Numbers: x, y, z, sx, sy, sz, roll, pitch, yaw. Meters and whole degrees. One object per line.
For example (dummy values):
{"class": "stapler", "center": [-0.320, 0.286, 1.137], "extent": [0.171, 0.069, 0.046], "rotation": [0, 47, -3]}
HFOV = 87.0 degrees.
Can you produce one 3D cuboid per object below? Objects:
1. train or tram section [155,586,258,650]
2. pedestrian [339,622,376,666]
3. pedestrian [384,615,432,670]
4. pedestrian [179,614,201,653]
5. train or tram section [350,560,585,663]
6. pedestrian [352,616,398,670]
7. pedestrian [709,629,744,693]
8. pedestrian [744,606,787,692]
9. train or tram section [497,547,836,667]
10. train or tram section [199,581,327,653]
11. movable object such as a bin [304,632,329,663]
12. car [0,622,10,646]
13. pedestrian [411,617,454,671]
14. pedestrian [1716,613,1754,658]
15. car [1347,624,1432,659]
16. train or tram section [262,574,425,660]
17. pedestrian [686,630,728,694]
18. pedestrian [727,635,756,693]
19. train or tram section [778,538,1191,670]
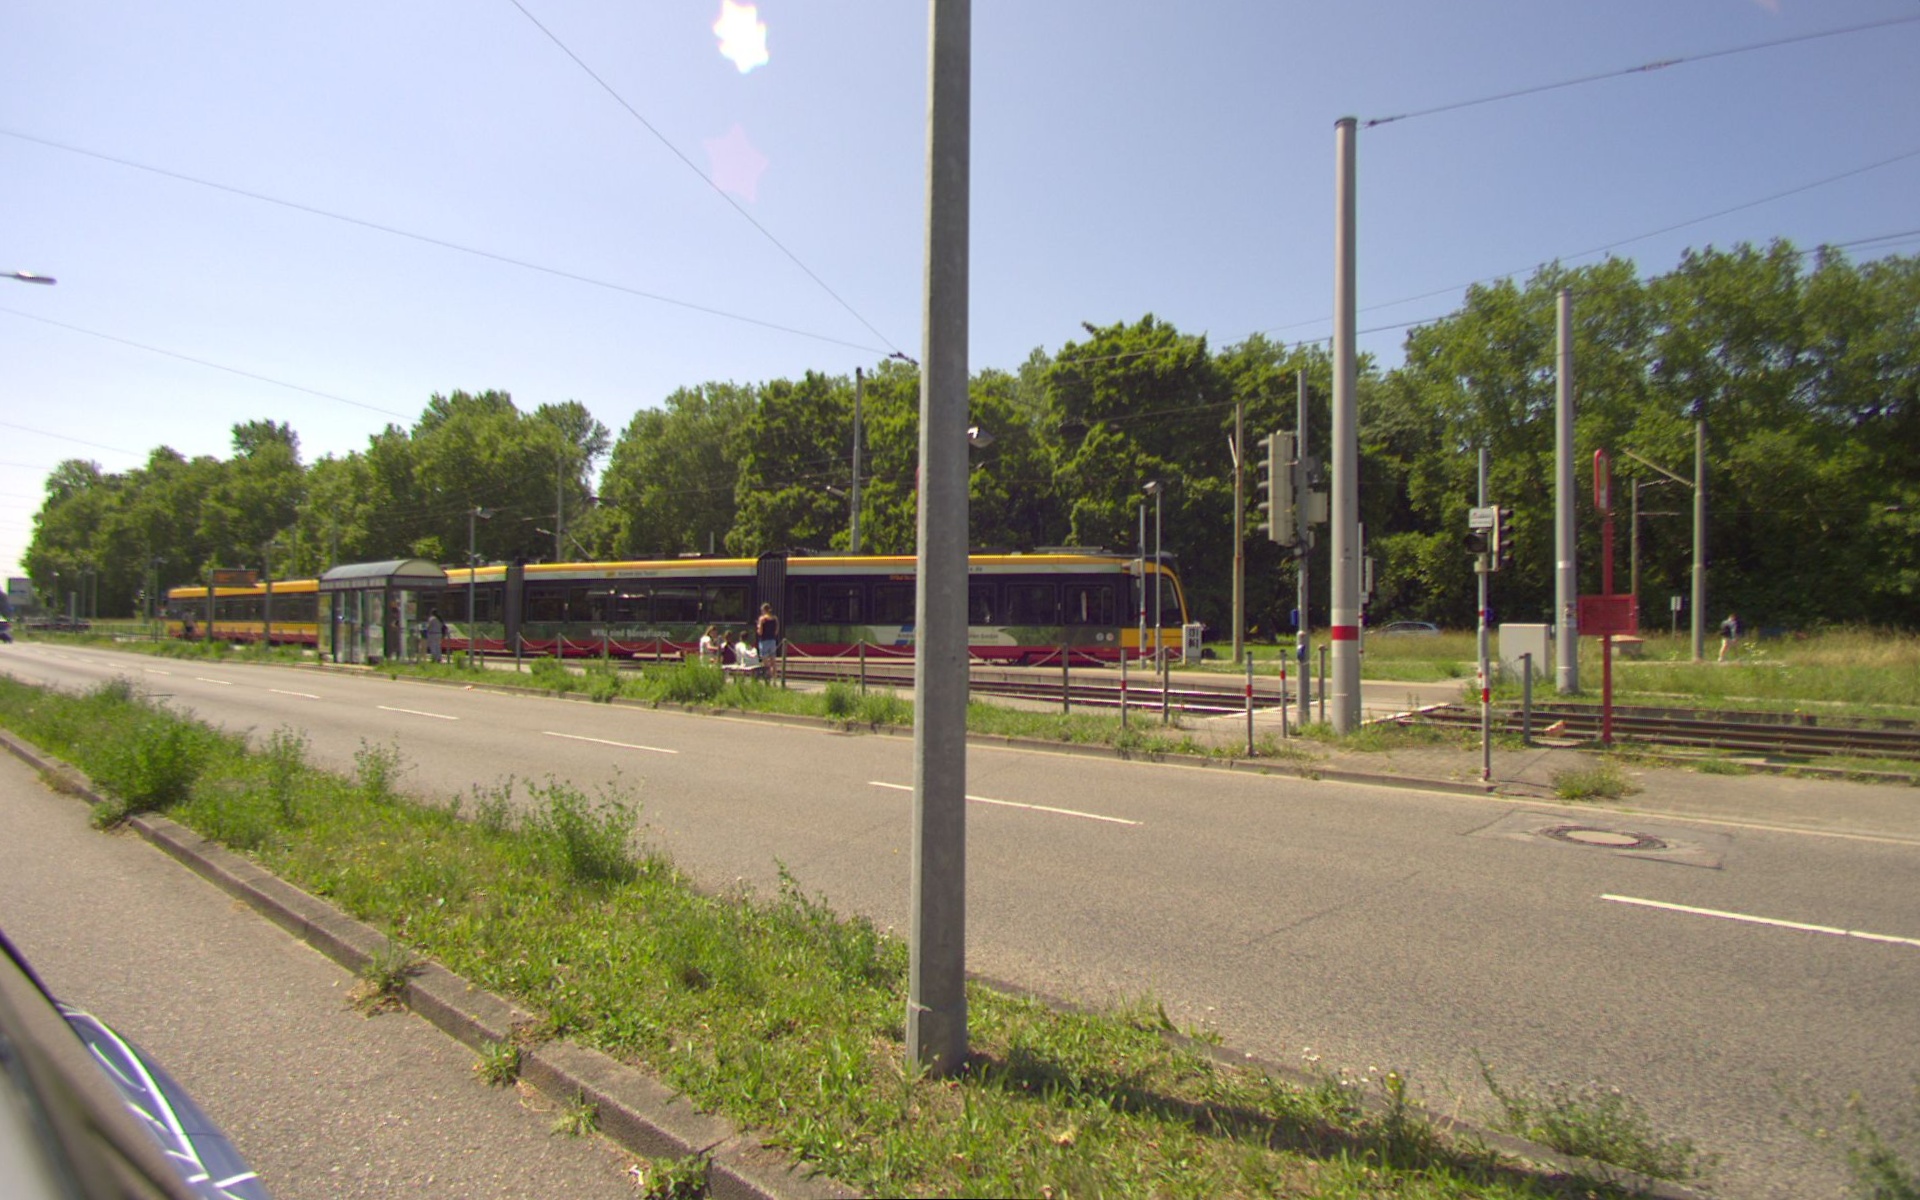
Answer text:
{"class": "train or tram section", "center": [-49.730, 1.182, 66.595], "extent": [11.533, 3.884, 2.920], "rotation": [-1, 0, 41]}
{"class": "pedestrian", "center": [-18.165, 1.307, 30.507], "extent": [0.839, 1.293, 0.694], "rotation": [-1, -1, 39]}
{"class": "pedestrian", "center": [-16.248, 1.232, 29.770], "extent": [0.984, 1.558, 0.921], "rotation": [-1, -1, 38]}
{"class": "pedestrian", "center": [-35.768, 1.545, 46.996], "extent": [0.775, 1.804, 0.625], "rotation": [-1, -1, 39]}
{"class": "train or tram section", "center": [-20.500, 0.507, 41.335], "extent": [13.881, 3.652, 3.014], "rotation": [-1, 0, 39]}
{"class": "pedestrian", "center": [-17.356, 1.258, 30.031], "extent": [1.025, 1.558, 0.865], "rotation": [-1, -1, 39]}
{"class": "pedestrian", "center": [-4.487, 1.159, 19.448], "extent": [0.399, 1.198, 0.490], "rotation": [-1, -1, 31]}
{"class": "pedestrian", "center": [-3.658, 0.905, 19.072], "extent": [0.582, 1.577, 0.529], "rotation": [-1, -1, 39]}
{"class": "train or tram section", "center": [-10.342, 0.339, 34.909], "extent": [12.382, 3.652, 3.027], "rotation": [-1, 0, 26]}
{"class": "train or tram section", "center": [-40.617, 0.999, 58.709], "extent": [12.587, 3.770, 3.012], "rotation": [-1, 0, 41]}
{"class": "movable object such as a bin", "center": [-21.184, 1.562, 33.307], "extent": [0.644, 0.985, 0.477], "rotation": [-1, -2, 37]}
{"class": "car", "center": [-60.953, 2.128, 63.273], "extent": [3.716, 1.516, 1.752], "rotation": [-1, -2, 39]}
{"class": "pedestrian", "center": [-15.330, 1.265, 29.415], "extent": [0.878, 1.519, 0.826], "rotation": [-1, -1, 39]}
{"class": "pedestrian", "center": [28.309, 1.295, 36.975], "extent": [0.778, 1.586, 0.692], "rotation": [-1, 0, -6]}
{"class": "car", "center": [22.443, 2.172, 53.012], "extent": [3.973, 1.741, 1.985], "rotation": [-1, 0, 22]}
{"class": "train or tram section", "center": [-30.831, 0.860, 50.190], "extent": [13.254, 3.795, 3.012], "rotation": [-1, 0, 41]}
{"class": "pedestrian", "center": [-4.912, 1.184, 19.641], "extent": [0.534, 1.198, 0.577], "rotation": [-1, 0, 28]}
{"class": "pedestrian", "center": [-4.162, 1.207, 19.268], "extent": [0.377, 1.066, 0.379], "rotation": [-1, -1, 39]}
{"class": "train or tram section", "center": [0.745, 0.208, 31.168], "extent": [12.328, 3.652, 3.041], "rotation": [-1, 0, 14]}
